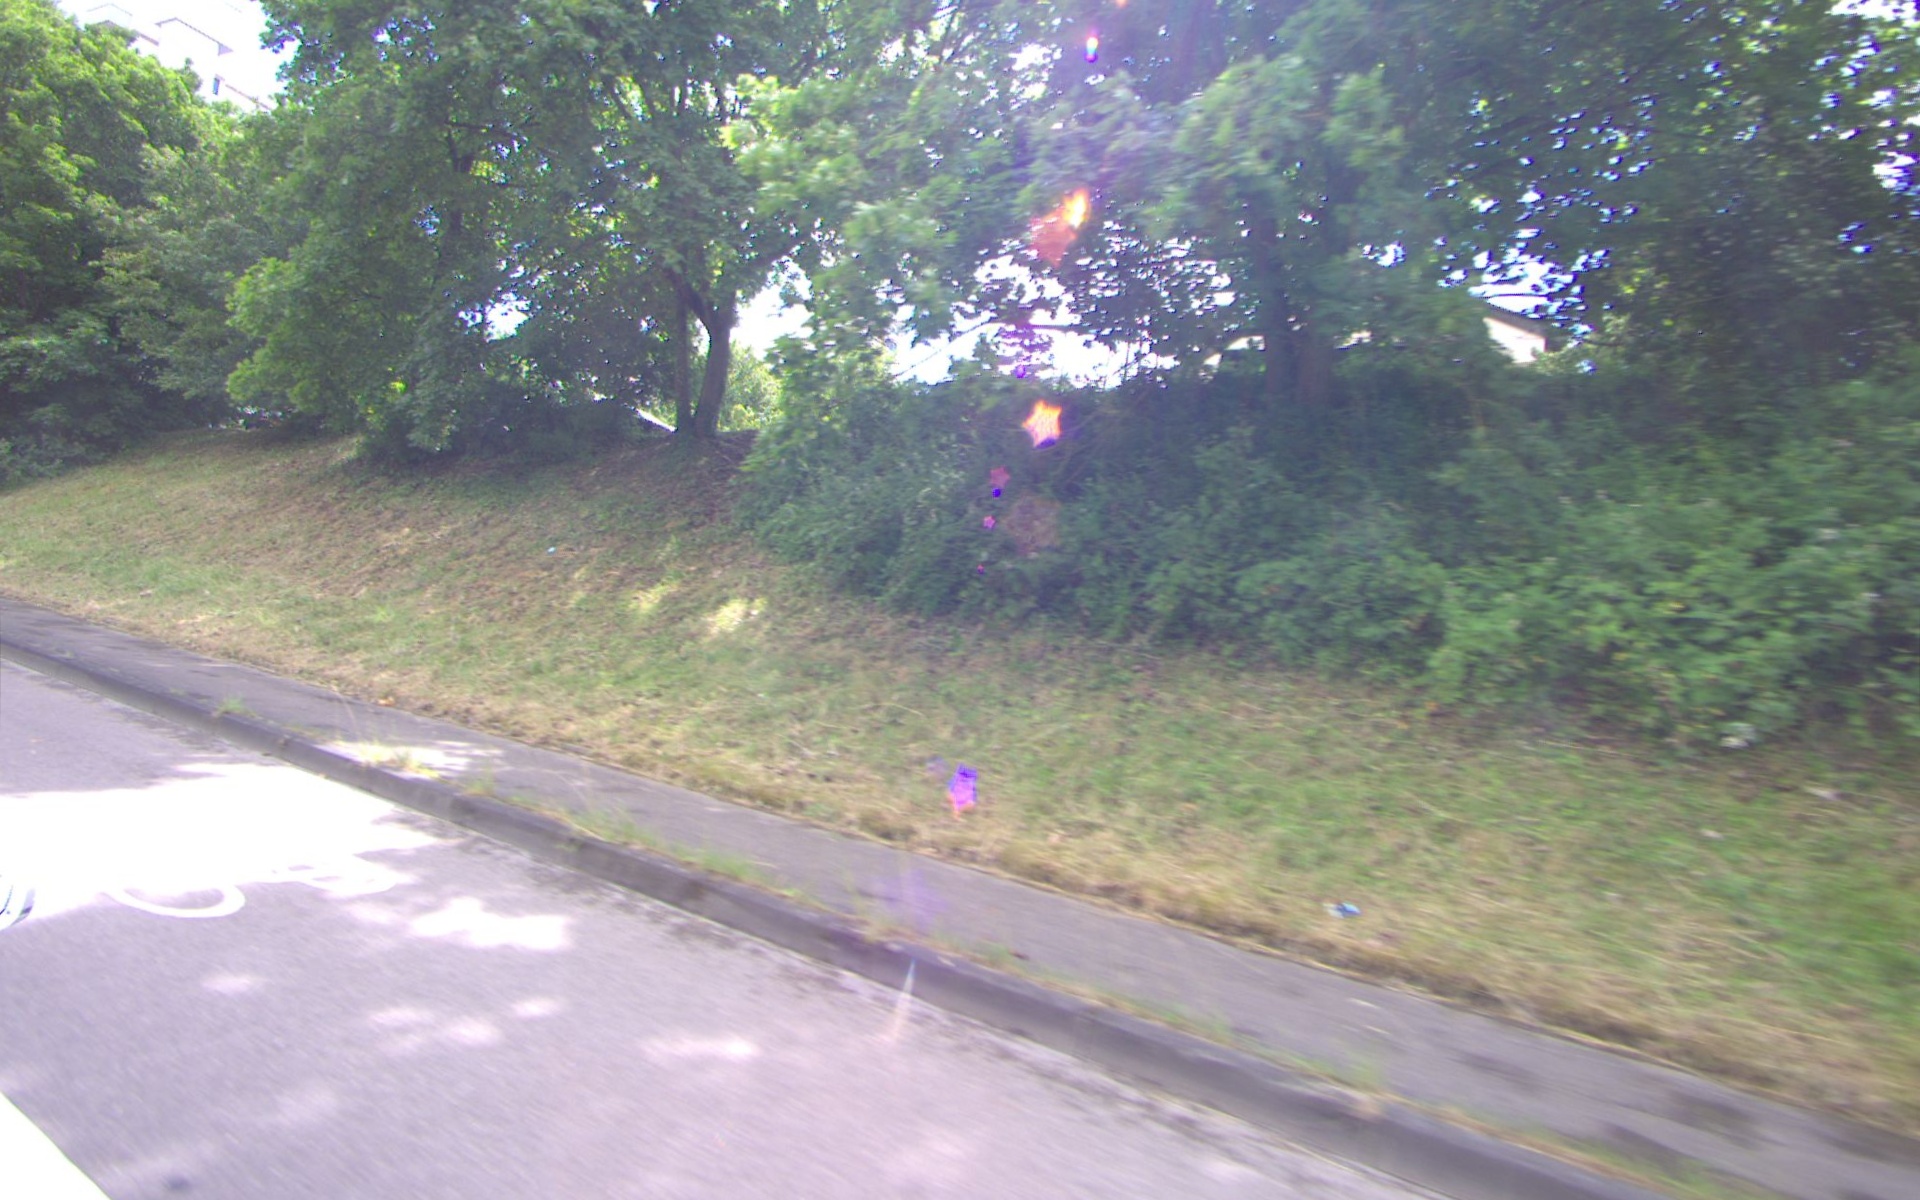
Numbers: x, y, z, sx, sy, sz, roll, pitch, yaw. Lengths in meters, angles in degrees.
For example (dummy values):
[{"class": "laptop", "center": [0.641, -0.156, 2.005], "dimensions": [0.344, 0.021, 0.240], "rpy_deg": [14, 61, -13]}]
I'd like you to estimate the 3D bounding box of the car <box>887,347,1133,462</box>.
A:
[{"class": "car", "center": [0.884, -3.510, 18.232], "dimensions": [3.929, 1.516, 1.779], "rpy_deg": [7, -2, 29]}]
